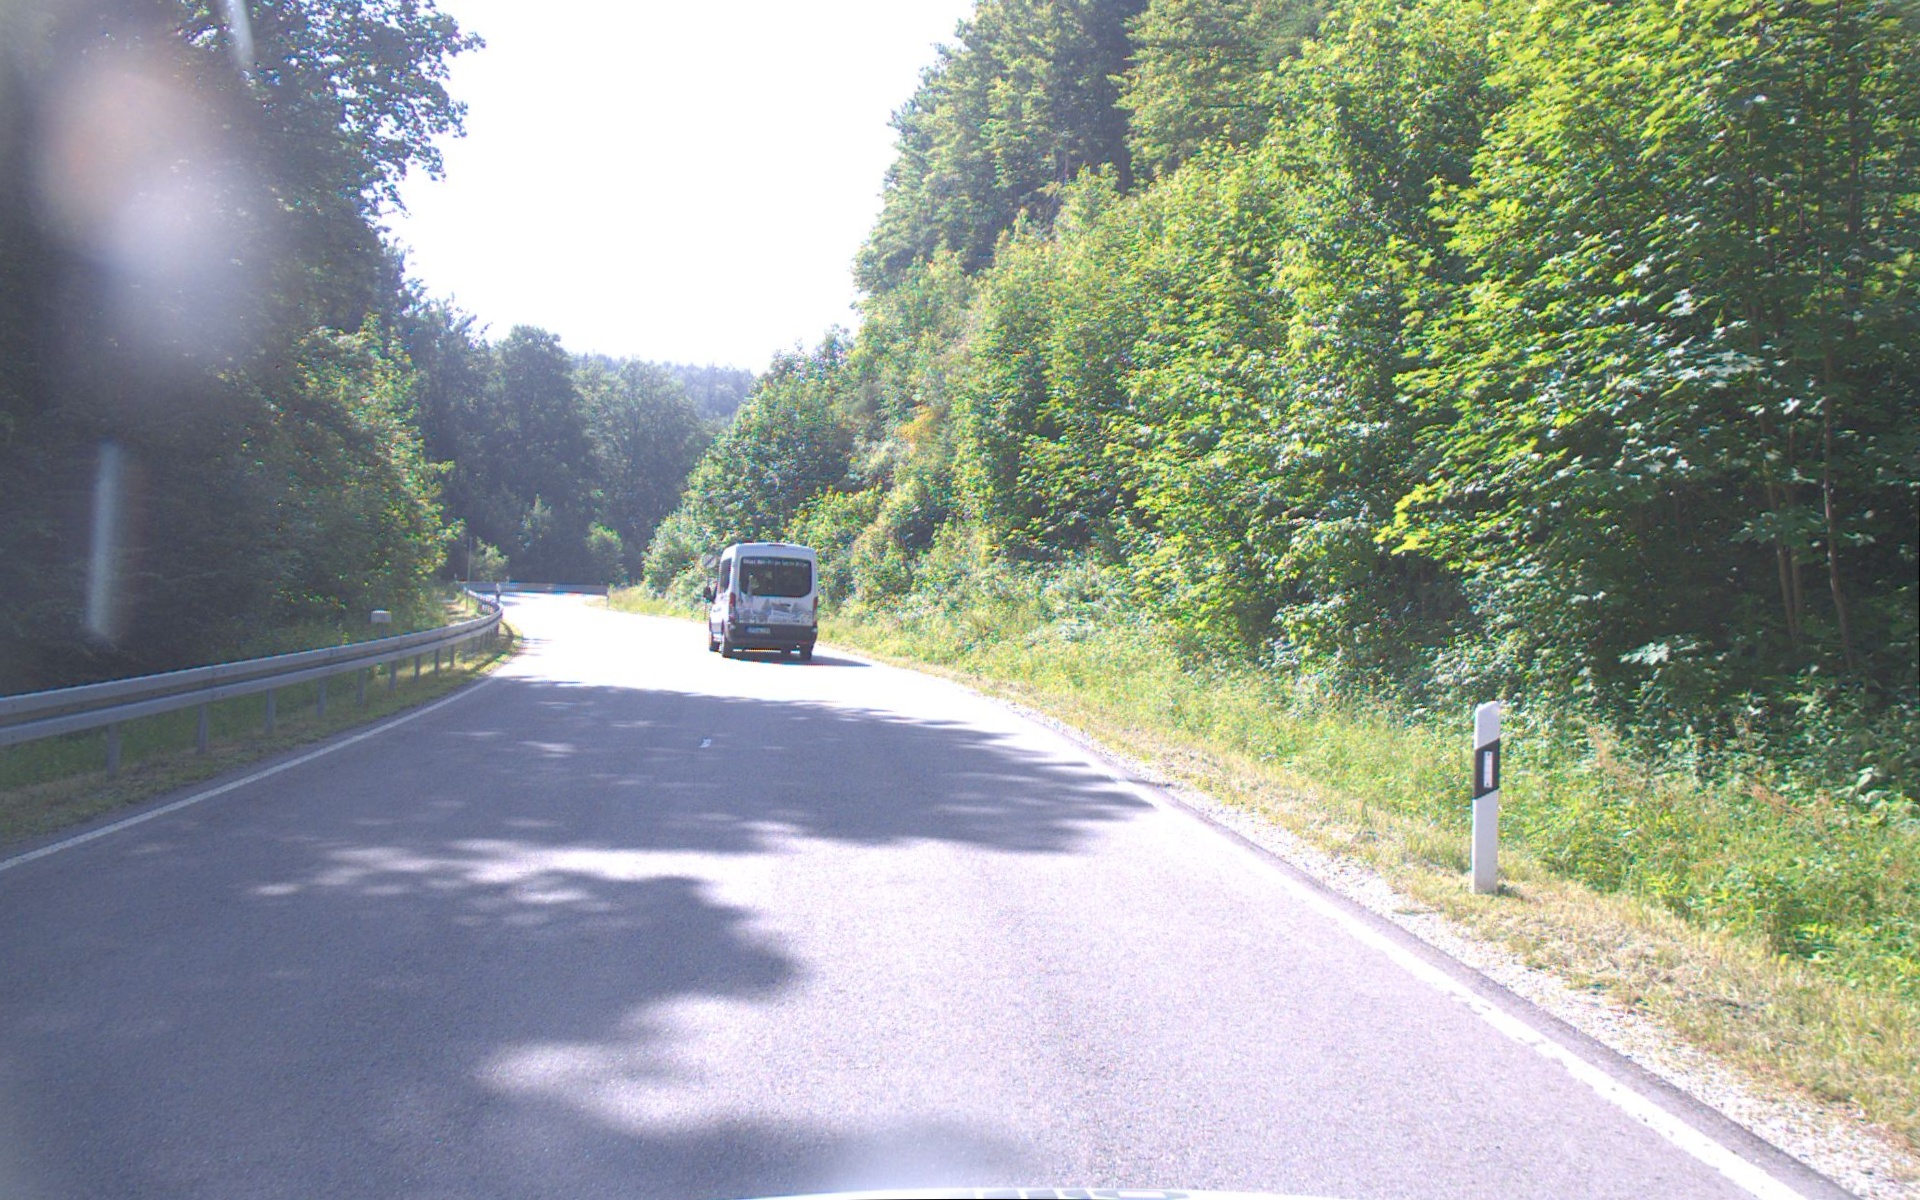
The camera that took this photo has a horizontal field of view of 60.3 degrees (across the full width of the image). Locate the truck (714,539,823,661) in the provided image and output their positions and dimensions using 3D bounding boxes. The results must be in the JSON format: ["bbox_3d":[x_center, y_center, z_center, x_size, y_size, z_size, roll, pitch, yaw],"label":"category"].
[{"bbox_3d":[-4.451,-0.028,37.702,2.077,2.542,5.346,1,0,-11],"label":"truck"}]
